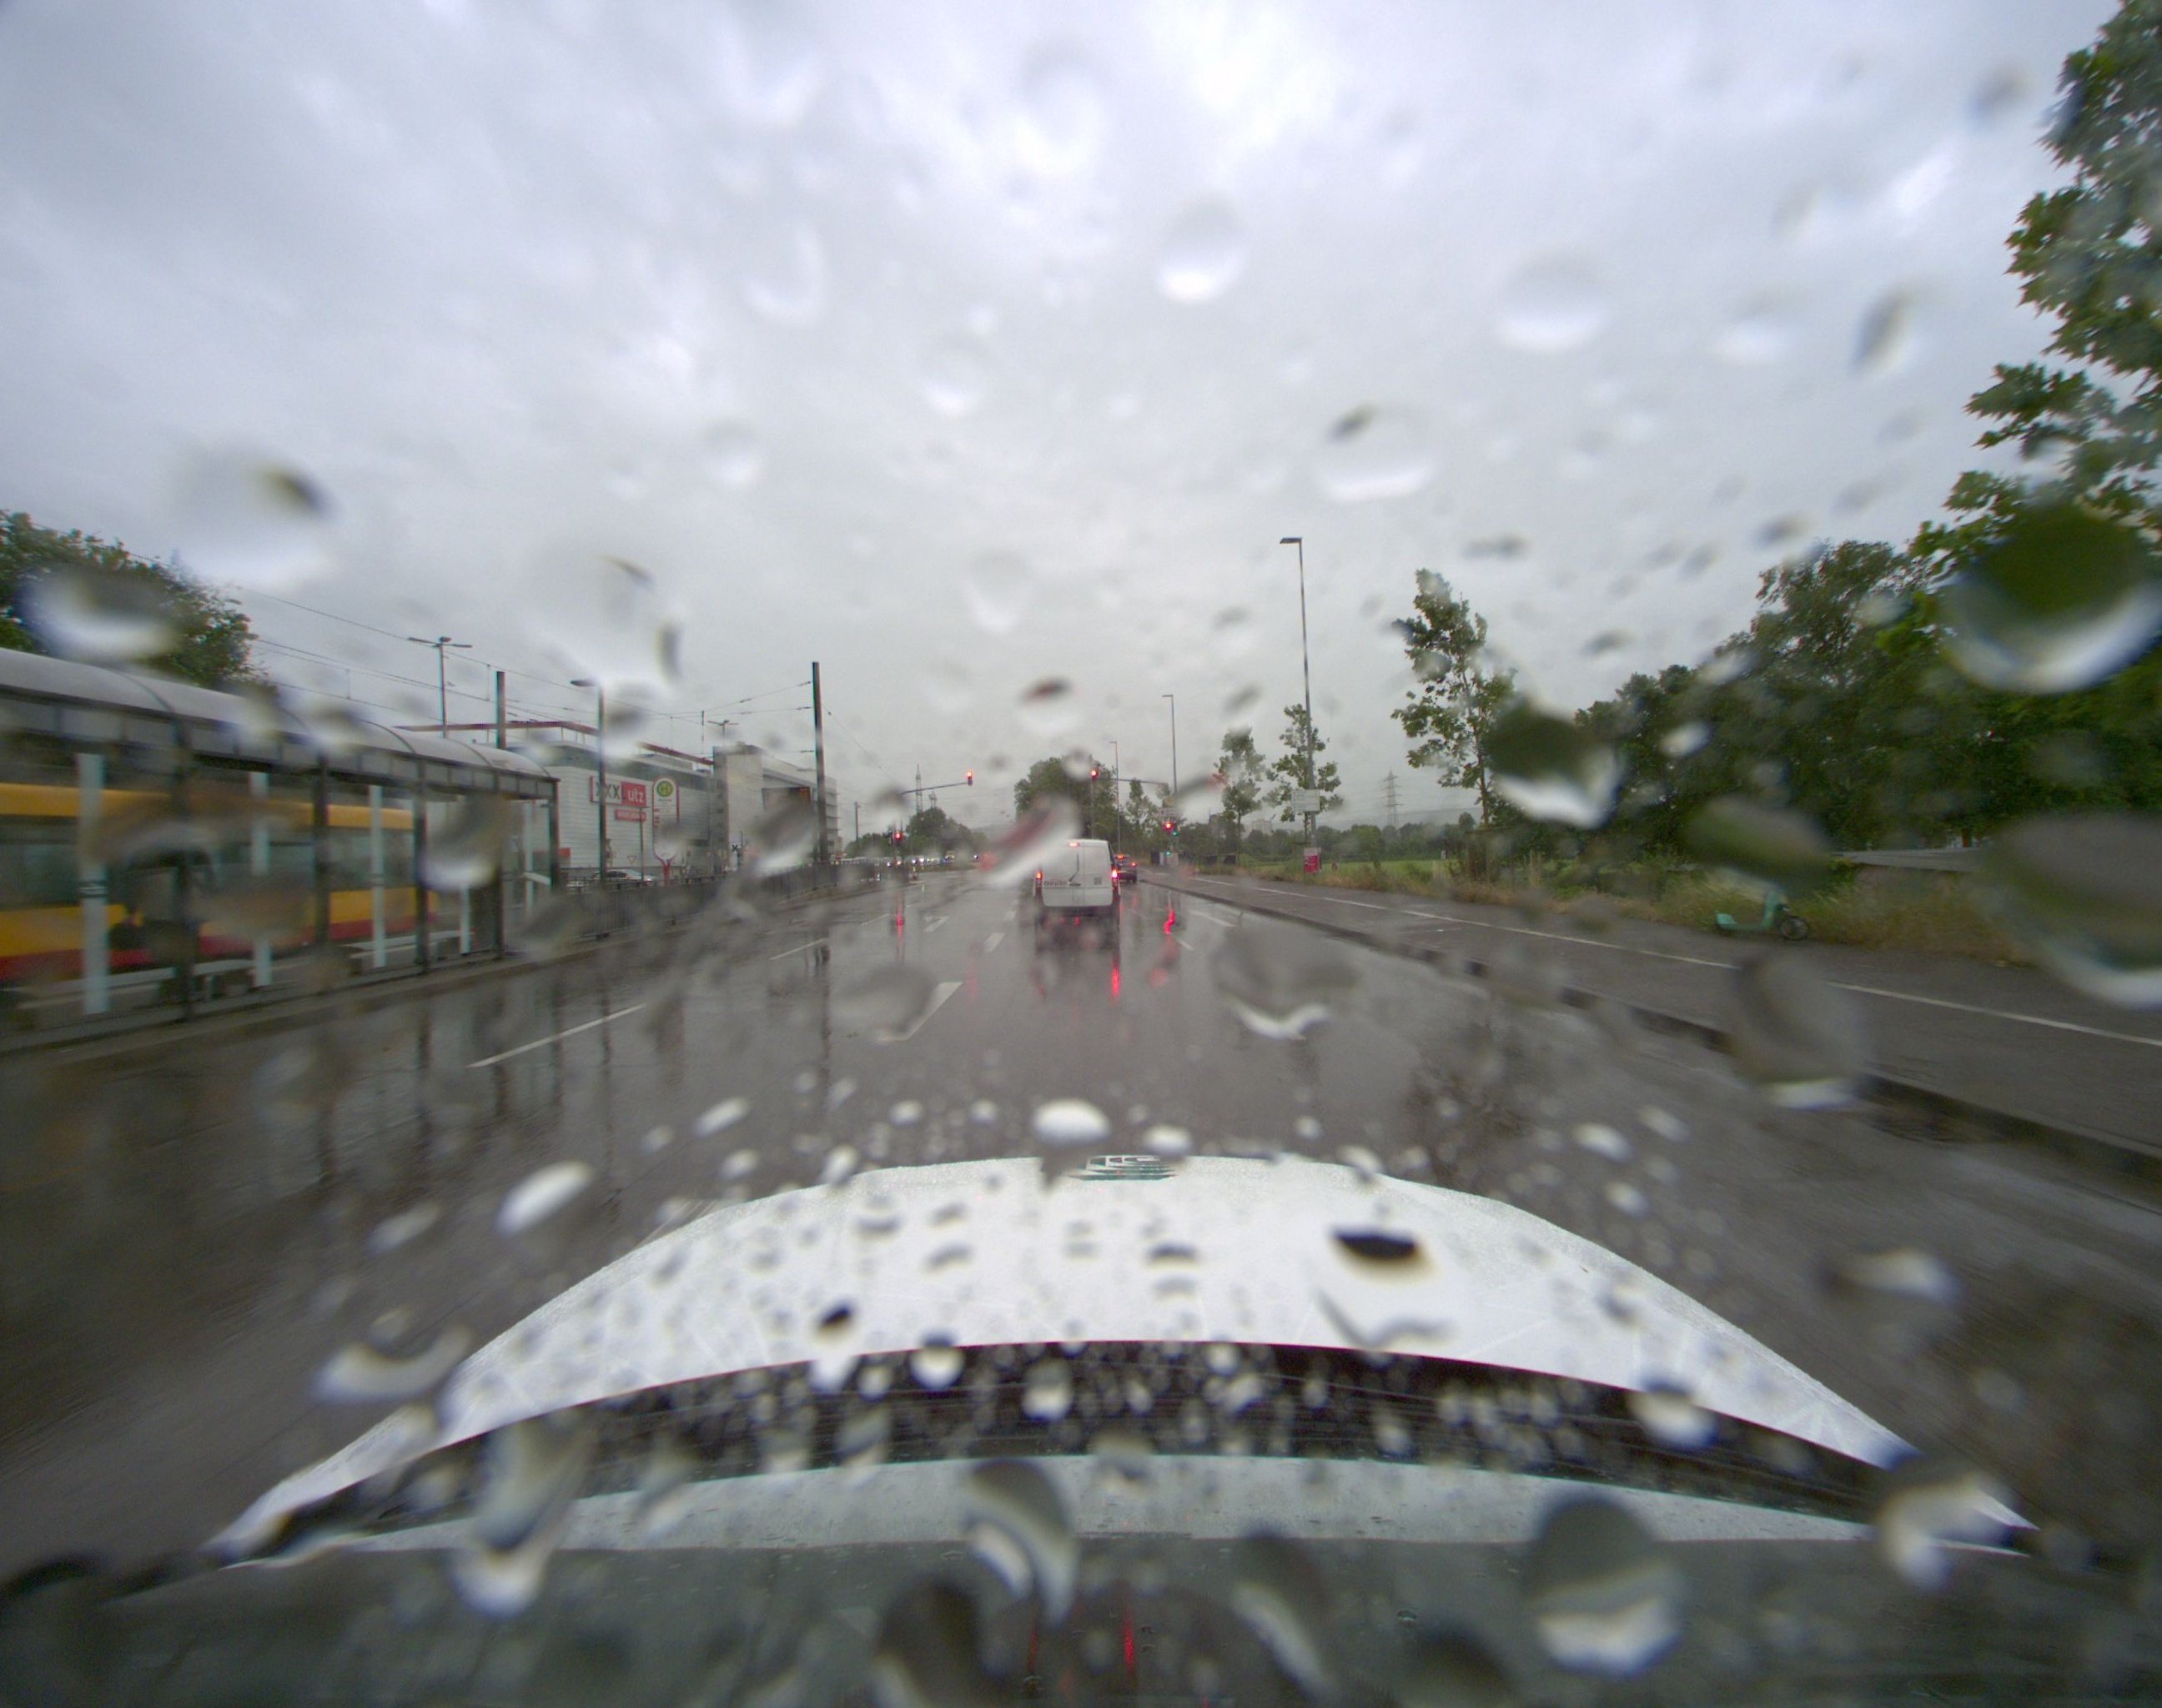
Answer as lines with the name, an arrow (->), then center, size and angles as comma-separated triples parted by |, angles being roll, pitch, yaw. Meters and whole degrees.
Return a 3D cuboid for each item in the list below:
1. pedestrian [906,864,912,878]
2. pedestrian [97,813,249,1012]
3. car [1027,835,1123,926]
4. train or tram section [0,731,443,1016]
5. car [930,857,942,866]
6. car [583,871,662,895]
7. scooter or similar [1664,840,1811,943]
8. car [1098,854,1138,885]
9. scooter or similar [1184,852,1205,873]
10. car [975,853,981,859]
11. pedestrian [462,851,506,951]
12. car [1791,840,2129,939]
pedestrian -> -11.098, 1.100, 52.440 | 0.314, 0.897, 0.380 | 0, 0, -4
pedestrian -> -9.011, 0.552, 8.111 | 0.650, 1.871, 0.775 | -1, -1, 13
car -> -0.248, 0.505, 18.041 | 1.752, 1.750, 4.161 | -1, 0, -6
train or tram section -> -16.517, 0.289, 12.377 | 3.733, 3.839, 13.239 | 0, 0, -3
car -> -26.521, 1.387, 148.848 | 1.556, 1.426, 3.565 | 0, -1, -2
car -> -32.653, 2.049, 58.071 | 4.439, 1.662, 1.952 | 0, -2, -3
scooter or similar -> 8.392, 0.448, 10.522 | 0.365, 1.199, 1.913 | -1, 0, 1
car -> 1.889, 0.769, 42.315 | 1.680, 1.508, 3.916 | 0, -1, -3
scooter or similar -> 6.602, 0.480, 47.549 | 0.688, 1.211, 3.018 | -2, 0, -1
car -> -30.015, 0.604, 237.333 | 1.556, 1.426, 3.565 | 0, -1, -2
pedestrian -> -9.092, 0.711, 12.410 | 0.320, 1.493, 0.416 | 0, -1, 3
car -> 12.177, 0.472, 11.423 | 3.223, 1.288, 1.346 | 0, -1, 2
